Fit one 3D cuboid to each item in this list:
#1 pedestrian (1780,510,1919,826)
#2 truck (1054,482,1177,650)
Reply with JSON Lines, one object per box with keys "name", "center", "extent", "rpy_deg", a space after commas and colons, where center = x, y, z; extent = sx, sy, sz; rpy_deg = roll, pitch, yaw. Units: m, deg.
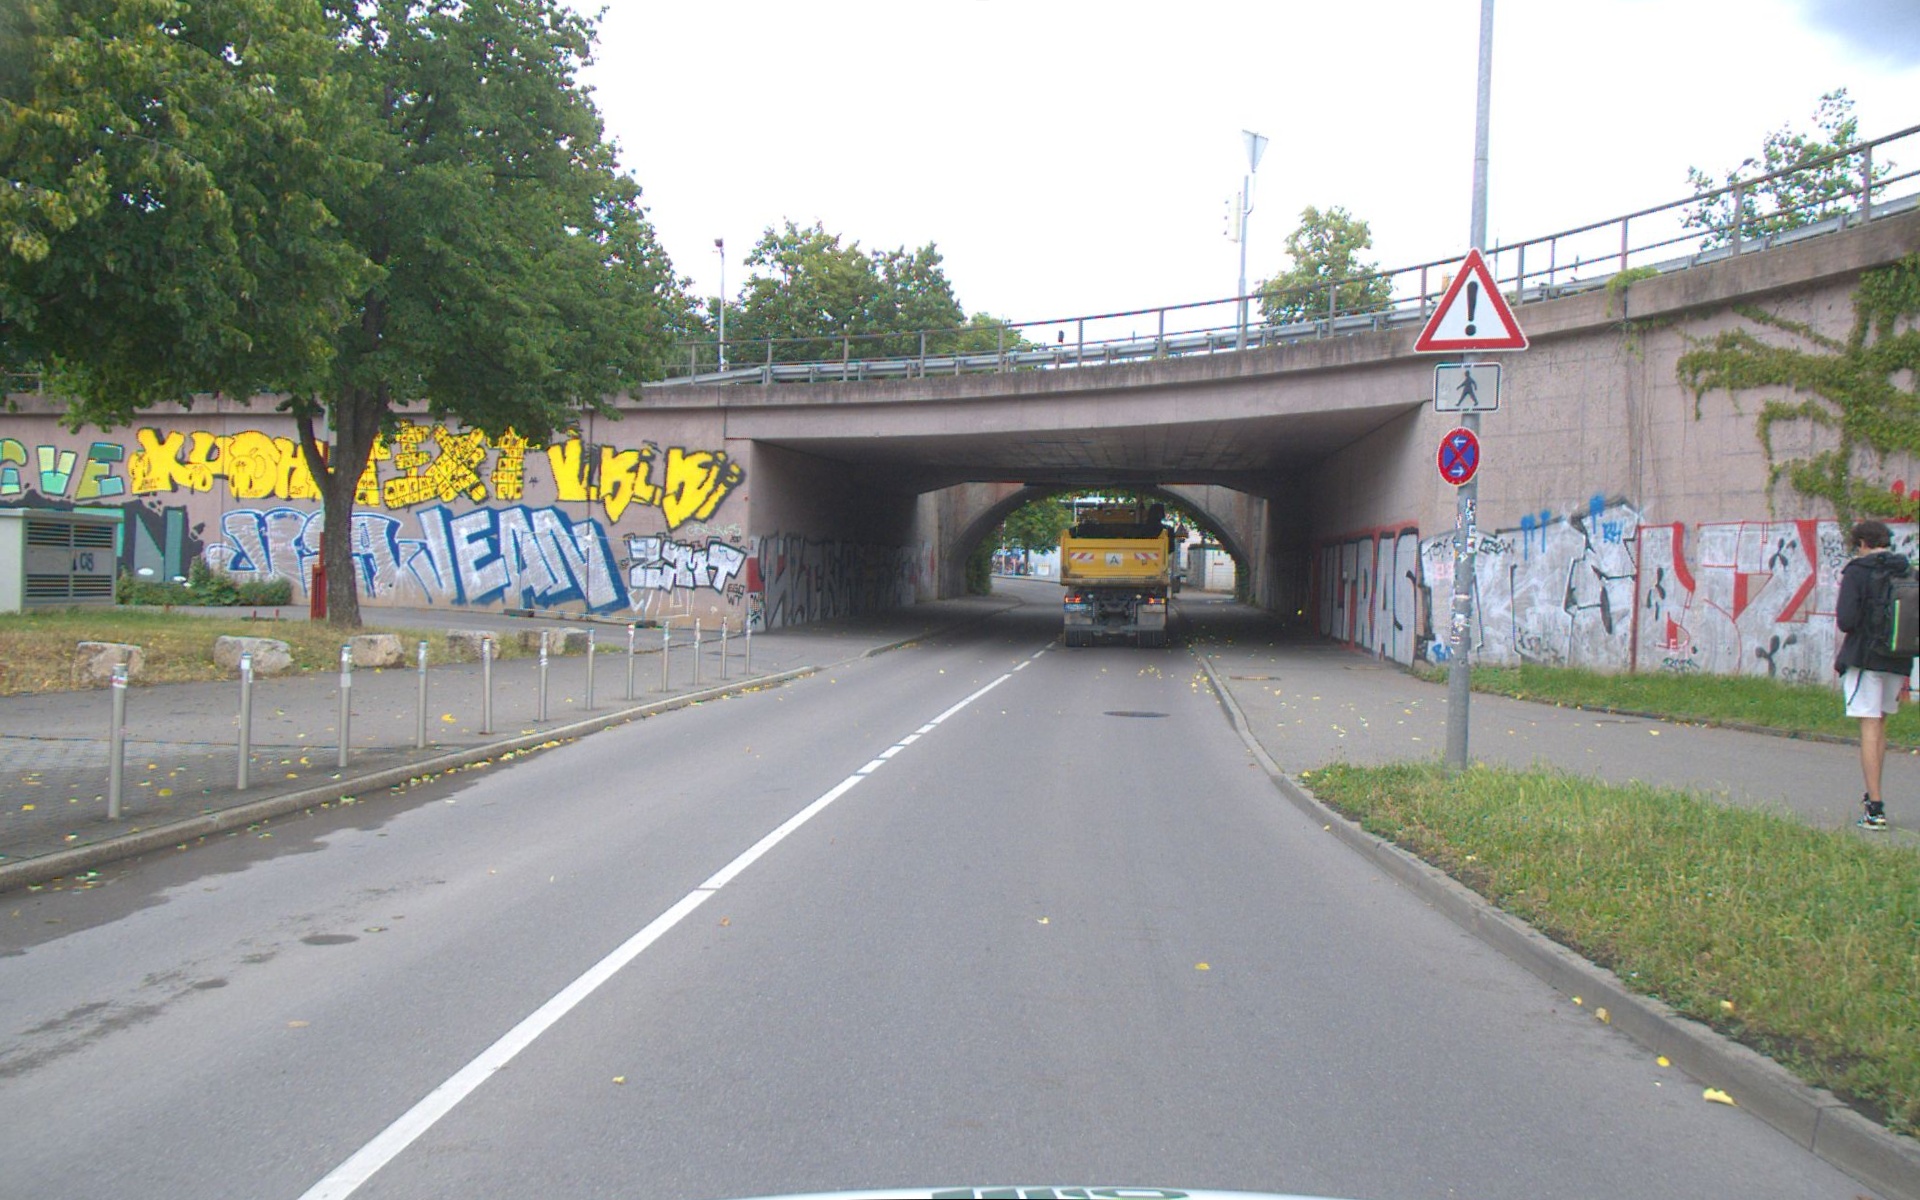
{"name": "pedestrian", "center": [5.867, 0.419, 10.614], "extent": [0.720, 1.940, 0.824], "rpy_deg": [1, 0, -4]}
{"name": "truck", "center": [4.051, -0.808, 42.226], "extent": [2.699, 3.763, 7.886], "rpy_deg": [3, 0, 7]}
